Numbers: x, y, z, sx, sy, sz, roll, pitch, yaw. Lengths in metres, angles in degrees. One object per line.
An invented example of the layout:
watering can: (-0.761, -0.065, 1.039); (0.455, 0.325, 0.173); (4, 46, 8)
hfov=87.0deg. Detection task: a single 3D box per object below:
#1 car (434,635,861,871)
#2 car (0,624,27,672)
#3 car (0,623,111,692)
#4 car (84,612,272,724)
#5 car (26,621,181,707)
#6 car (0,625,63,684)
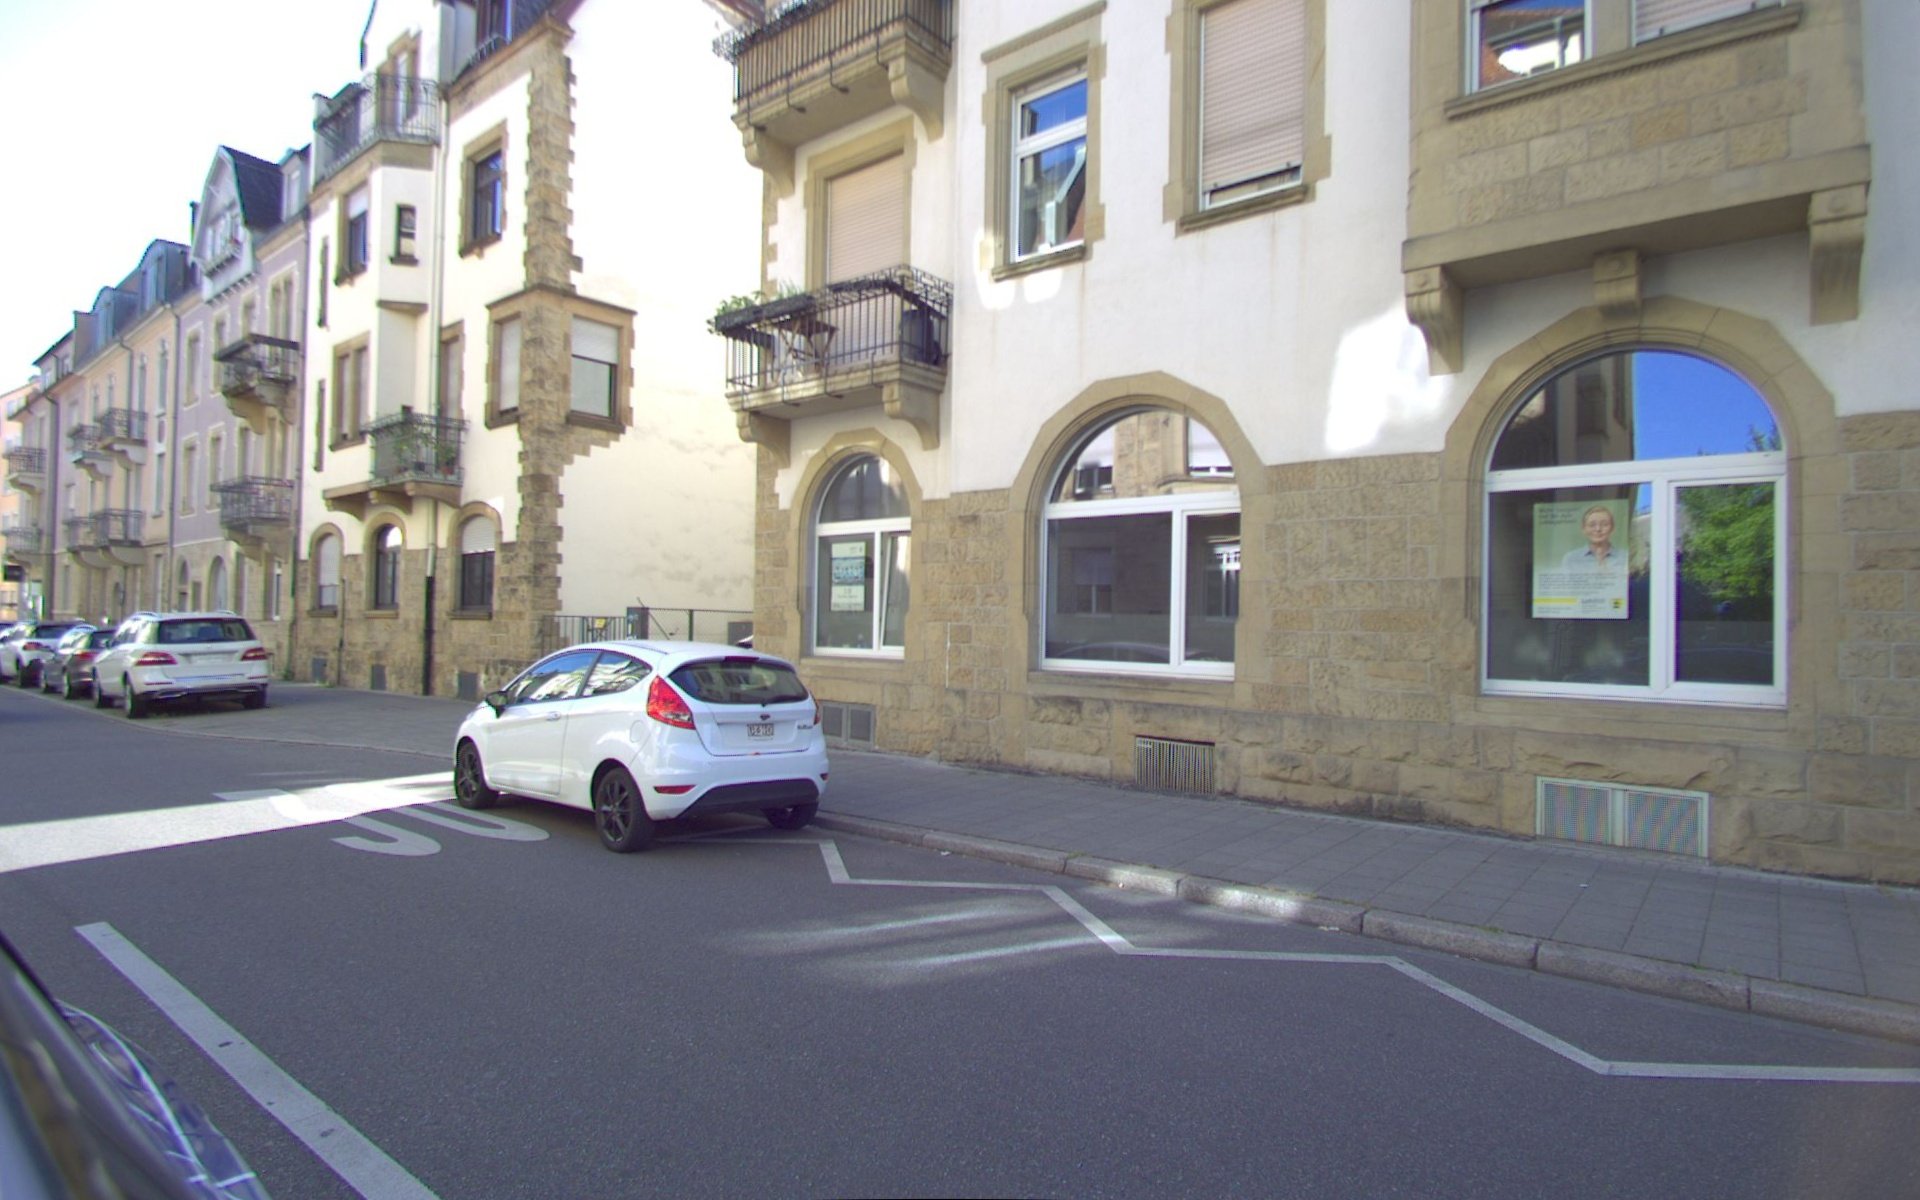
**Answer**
car: (-2.648, 1.043, 8.178); (3.642, 1.469, 1.634); (-2, -5, 42)
car: (-33.163, 1.602, 34.279); (4.319, 1.520, 1.866); (-1, 0, 41)
car: (-22.959, 1.379, 25.431); (4.319, 1.520, 1.866); (-1, 0, 41)
car: (-13.971, 1.096, 18.003); (4.209, 1.740, 1.866); (-1, 0, 41)
car: (-18.455, 1.287, 21.750); (4.319, 1.519, 1.866); (-1, 2, 41)
car: (-27.168, 1.512, 28.870); (4.317, 1.511, 1.833); (-1, 0, 41)
